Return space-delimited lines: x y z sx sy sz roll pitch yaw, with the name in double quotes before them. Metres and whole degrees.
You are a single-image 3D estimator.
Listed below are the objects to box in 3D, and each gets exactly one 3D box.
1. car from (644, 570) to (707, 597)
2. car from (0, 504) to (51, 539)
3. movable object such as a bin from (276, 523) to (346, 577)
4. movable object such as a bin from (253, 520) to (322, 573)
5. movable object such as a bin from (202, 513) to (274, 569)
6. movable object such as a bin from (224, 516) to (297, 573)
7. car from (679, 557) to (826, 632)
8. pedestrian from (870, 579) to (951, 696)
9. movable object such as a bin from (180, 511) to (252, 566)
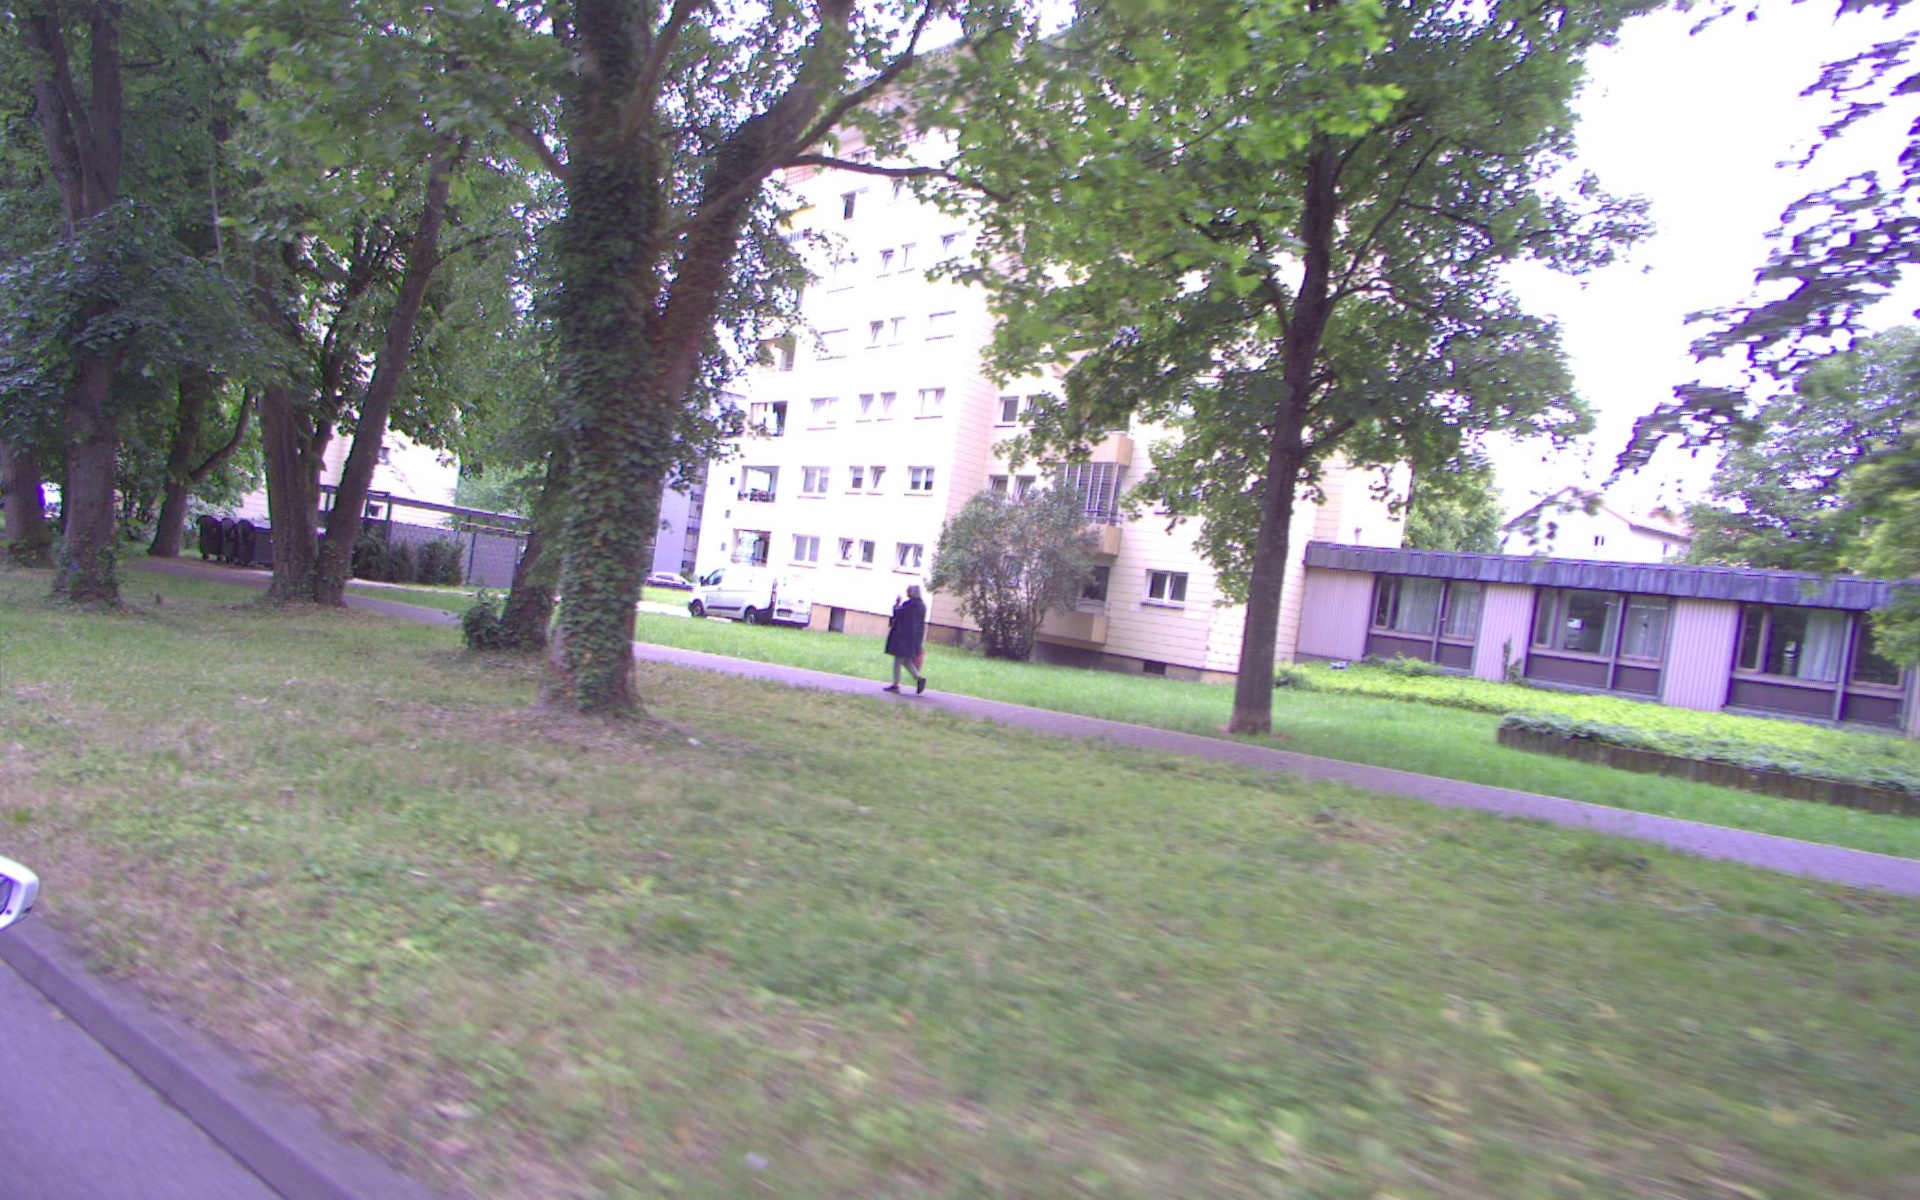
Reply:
"car" -21.464 -1.224 75.866 4.278 1.528 1.791 7 -1 -22
"car" -60.187 -5.096 63.396 3.966 1.747 1.782 10 0 -35
"movable object such as a bin" -20.924 -1.614 32.430 1.292 1.520 1.329 7 1 28
"movable object such as a bin" -22.119 -1.753 33.099 1.292 1.520 1.329 7 1 28
"movable object such as a bin" -22.812 -1.853 31.799 1.292 1.520 1.329 7 1 28
"movable object such as a bin" -21.647 -1.711 31.150 1.292 1.520 1.329 7 1 28
"car" -7.034 -0.221 33.886 4.894 1.866 2.084 8 1 39
"pedestrian" -0.765 0.582 15.676 0.800 1.708 0.769 7 1 29
"movable object such as a bin" -23.978 -1.977 32.434 1.292 1.520 1.329 7 1 28
